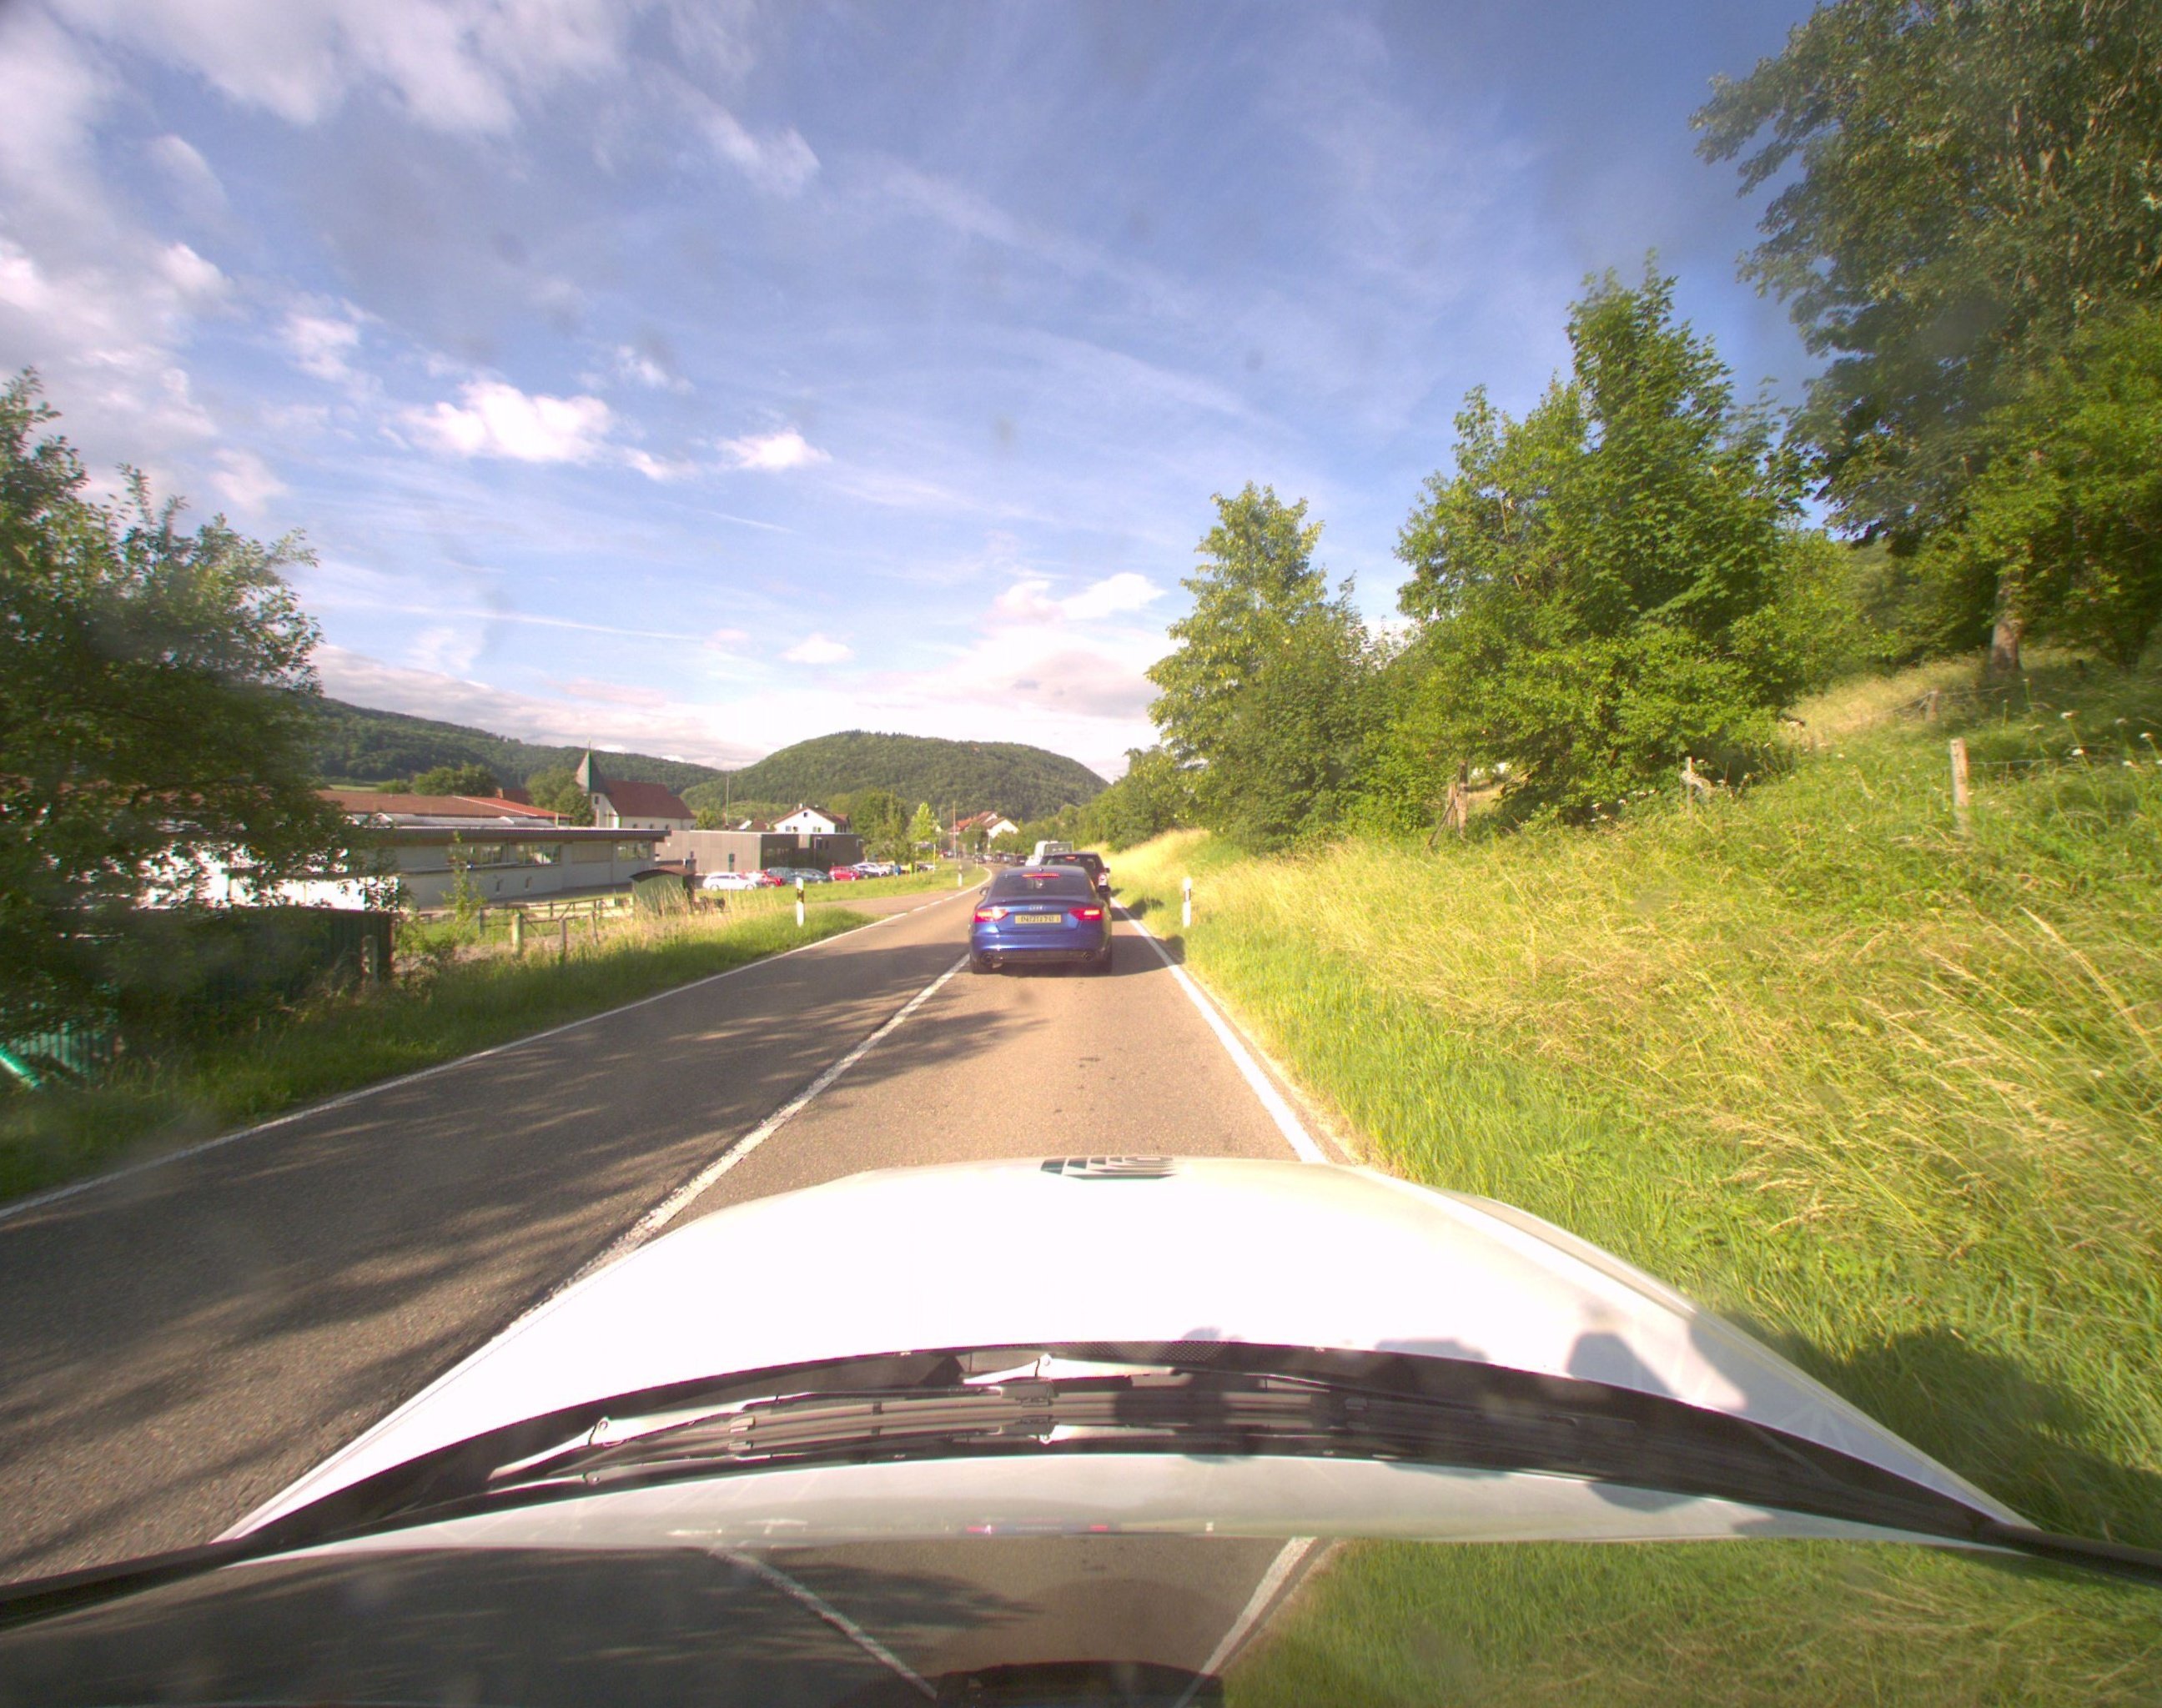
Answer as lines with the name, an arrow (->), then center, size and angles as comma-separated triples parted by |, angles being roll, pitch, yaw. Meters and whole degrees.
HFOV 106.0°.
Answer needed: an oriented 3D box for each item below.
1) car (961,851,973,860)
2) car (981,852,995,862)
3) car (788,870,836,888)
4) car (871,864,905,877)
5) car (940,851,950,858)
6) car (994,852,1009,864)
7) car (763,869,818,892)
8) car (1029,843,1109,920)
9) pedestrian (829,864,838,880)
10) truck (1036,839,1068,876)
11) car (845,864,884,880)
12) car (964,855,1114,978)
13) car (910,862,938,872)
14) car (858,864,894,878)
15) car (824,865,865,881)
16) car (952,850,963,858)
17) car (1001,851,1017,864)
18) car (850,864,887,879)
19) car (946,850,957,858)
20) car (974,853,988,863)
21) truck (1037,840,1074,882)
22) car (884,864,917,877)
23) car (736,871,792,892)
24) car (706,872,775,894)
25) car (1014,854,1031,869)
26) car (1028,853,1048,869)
car -> -22.997, 0.297, 164.185 | 1.850, 1.712, 3.976 | 0, -1, -18
car -> -15.761, 0.508, 137.786 | 1.847, 1.712, 3.982 | 0, -1, -13
car -> -26.147, 2.427, 79.193 | 3.977, 1.711, 1.998 | -1, -1, -3
car -> -25.397, 2.195, 107.235 | 3.977, 1.711, 1.998 | -1, -1, -3
car -> -33.078, 0.056, 197.329 | 1.850, 1.712, 3.976 | 0, -1, -18
car -> -12.134, 0.605, 124.428 | 1.847, 1.712, 3.982 | 0, -1, -13
car -> -26.720, 2.397, 75.003 | 4.395, 2.008, 1.998 | -1, -1, -3
car -> -0.217, 0.614, 19.808 | 1.748, 1.681, 3.847 | -1, -1, 1
pedestrian -> -31.525, 2.326, 103.752 | 0.822, 2.014, 0.973 | -1, -1, 0
truck -> -2.214, 0.272, 61.464 | 2.225, 2.570, 6.700 | 0, -1, -3
car -> -25.135, 2.085, 94.510 | 3.977, 1.711, 1.998 | -1, -1, -3
car -> -0.457, 0.752, 11.502 | 1.748, 1.430, 3.847 | -1, -1, 1
car -> -23.954, 1.963, 124.275 | 3.977, 1.579, 1.751 | -1, -1, -3
car -> -25.480, 2.147, 101.449 | 3.977, 1.711, 1.998 | -1, -1, -3
car -> -26.054, 2.055, 89.932 | 3.977, 1.711, 1.998 | -1, -1, -3
car -> -26.997, 0.032, 178.168 | 1.850, 1.712, 3.976 | 0, -1, -18
car -> -10.300, 0.521, 116.890 | 1.847, 1.712, 3.983 | 0, -1, -12
car -> -25.596, 2.121, 98.164 | 3.977, 1.711, 1.998 | -1, -1, -3
car -> -29.780, -0.059, 187.327 | 1.850, 1.712, 3.976 | 0, -1, -18
car -> -15.222, 0.642, 123.733 | 1.705, 1.430, 4.034 | 0, -1, -11
truck -> -1.620, 0.460, 53.097 | 2.223, 2.570, 6.100 | -1, -1, -1
car -> -24.315, 2.207, 109.827 | 3.977, 1.711, 1.998 | -1, -1, -3
car -> -26.989, 2.352, 69.344 | 3.977, 1.711, 1.998 | -1, -1, -3
car -> -27.642, 2.331, 66.146 | 4.719, 1.711, 1.998 | -1, -1, -3
car -> -6.553, 0.844, 91.408 | 1.843, 1.712, 3.992 | 0, -1, -5
car -> -4.162, 0.712, 78.420 | 1.843, 1.482, 3.992 | 0, -1, -5
